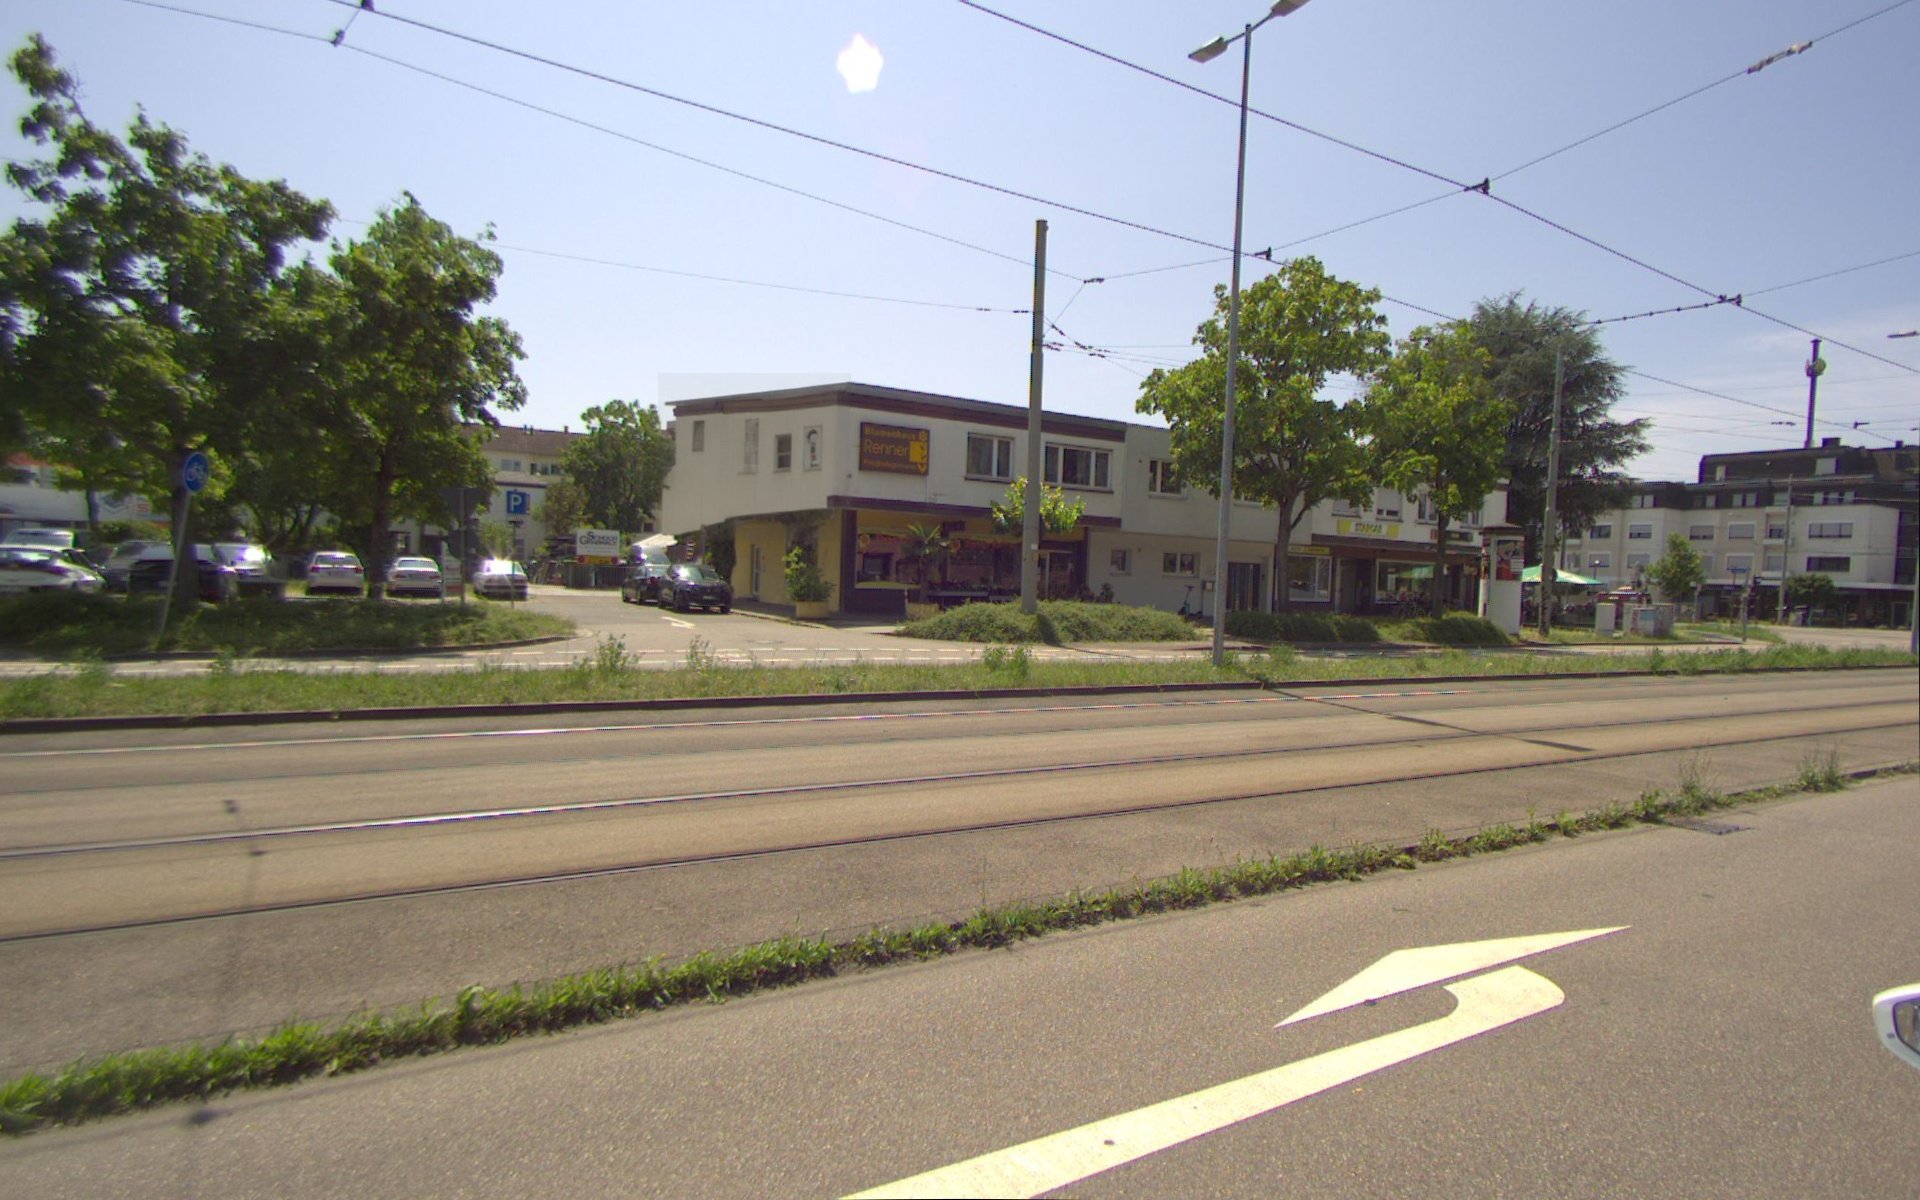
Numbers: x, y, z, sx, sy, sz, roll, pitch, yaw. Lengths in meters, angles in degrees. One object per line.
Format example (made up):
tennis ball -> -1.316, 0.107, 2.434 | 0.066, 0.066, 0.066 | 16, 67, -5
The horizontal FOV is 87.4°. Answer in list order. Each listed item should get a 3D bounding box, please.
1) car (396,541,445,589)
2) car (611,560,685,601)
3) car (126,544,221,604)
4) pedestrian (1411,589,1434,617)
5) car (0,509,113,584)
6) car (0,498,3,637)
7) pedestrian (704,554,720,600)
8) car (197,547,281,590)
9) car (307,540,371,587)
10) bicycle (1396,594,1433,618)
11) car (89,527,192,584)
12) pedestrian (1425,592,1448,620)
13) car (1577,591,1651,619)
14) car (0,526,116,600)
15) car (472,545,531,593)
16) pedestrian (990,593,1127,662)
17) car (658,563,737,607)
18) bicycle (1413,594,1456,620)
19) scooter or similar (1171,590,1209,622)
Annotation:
car -> -20.009, -1.259, 37.326 | 1.501, 1.600, 3.971 | 2, 0, -28
car -> -12.111, -0.720, 38.883 | 1.975, 1.440, 4.114 | 2, 0, -28
car -> -18.275, -0.625, 23.450 | 1.628, 1.248, 3.388 | 1, 2, -37
pedestrian -> 21.920, 0.164, 47.565 | 0.832, 1.285, 0.586 | 2, 0, -31
car -> -28.919, -1.627, 31.853 | 2.200, 2.097, 5.083 | 2, 0, -30
car -> -15.916, -0.476, 12.647 | 5.281, 2.038, 1.866 | 2, 4, -30
pedestrian -> -9.853, -0.914, 39.906 | 0.466, 1.823, 0.484 | 2, 0, -31
car -> -24.314, -1.049, 33.990 | 1.742, 1.302, 3.701 | 2, 0, -28
car -> -22.478, -1.296, 36.466 | 1.640, 1.540, 3.971 | 2, 0, -28
bicycle -> 19.684, 0.271, 43.459 | 1.739, 0.992, 0.536 | 2, 0, -31
car -> -26.838, -1.414, 33.031 | 1.781, 1.678, 3.971 | 2, 0, -28
pedestrian -> 22.312, 0.277, 47.054 | 0.832, 1.285, 0.586 | 2, 0, -31
car -> 58.268, 0.414, 89.549 | 2.220, 2.372, 5.037 | 2, 0, -31
car -> -20.732, -0.850, 22.630 | 1.962, 1.509, 4.139 | 1, 1, -31
car -> -17.577, -1.163, 38.420 | 1.781, 1.678, 3.971 | 2, 0, -28
pedestrian -> 3.164, 0.892, 32.200 | 3.955, 2.040, 1.983 | 2, 0, -31
car -> -8.785, -0.542, 33.421 | 1.661, 1.314, 3.970 | 1, 2, -28
bicycle -> 19.895, 0.291, 42.086 | 2.006, 0.992, 0.607 | 2, 0, -31
scooter or similar -> 8.847, 0.228, 38.679 | 1.321, 1.207, 0.455 | 2, 0, -11
